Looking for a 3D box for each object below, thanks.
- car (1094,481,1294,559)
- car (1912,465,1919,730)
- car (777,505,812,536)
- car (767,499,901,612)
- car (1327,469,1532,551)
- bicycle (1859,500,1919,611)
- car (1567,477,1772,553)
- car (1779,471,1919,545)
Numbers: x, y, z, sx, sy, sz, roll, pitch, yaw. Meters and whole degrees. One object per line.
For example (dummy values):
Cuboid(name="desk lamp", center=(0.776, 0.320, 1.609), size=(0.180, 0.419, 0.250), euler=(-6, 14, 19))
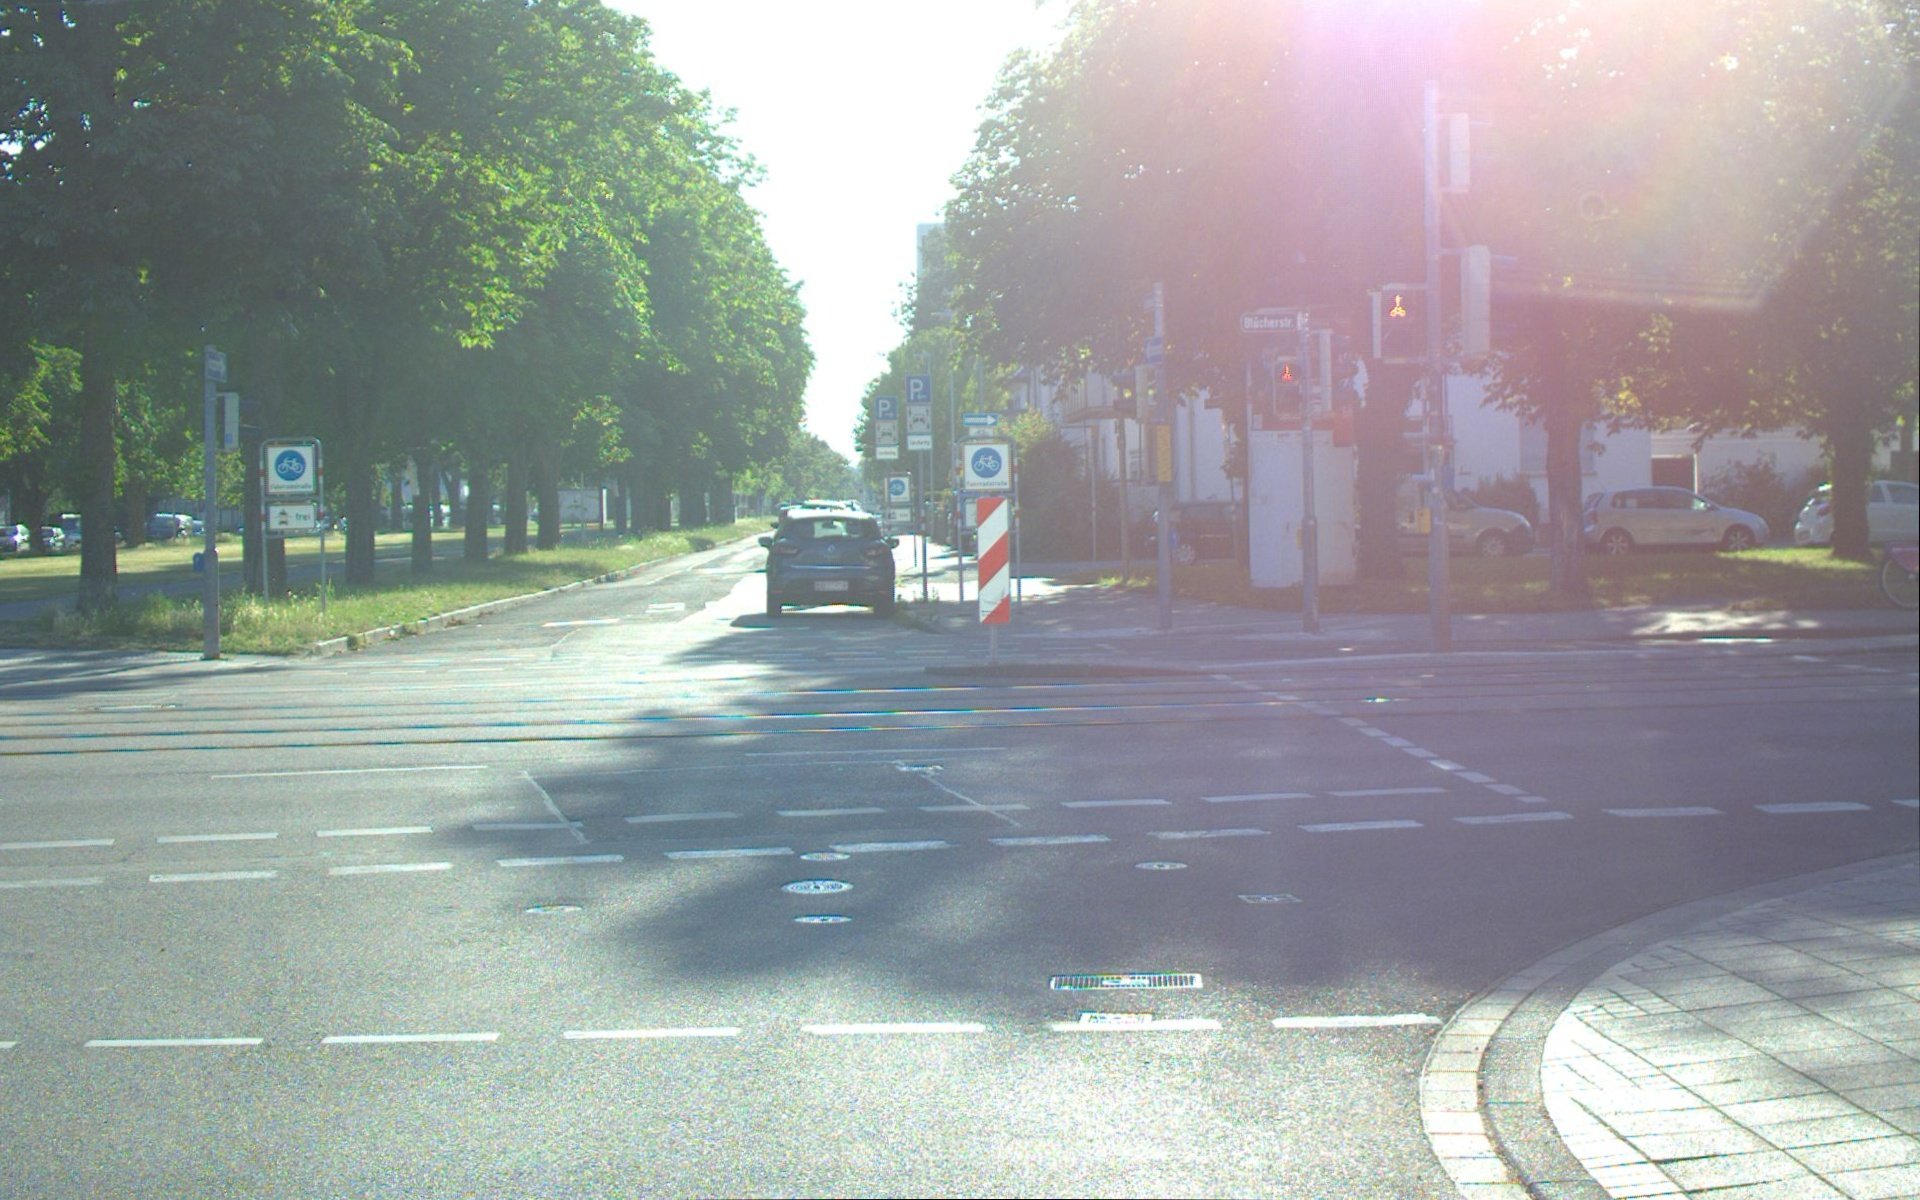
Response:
Cuboid(name="car", center=(4.589, -1.583, 67.759), size=(3.779, 1.422, 1.744), euler=(-1, 3, -1))
Cuboid(name="car", center=(7.340, 0.002, 18.842), size=(3.685, 1.483, 1.742), euler=(-1, 3, -12))
Cuboid(name="car", center=(-10.995, -5.318, 228.331), size=(2.134, 2.006, 3.902), euler=(-1, 2, -1))
Cuboid(name="car", center=(-1.679, -0.630, 46.715), size=(1.641, 1.446, 3.307), euler=(-1, 2, 1))
Cuboid(name="car", center=(9.262, -1.800, 68.042), size=(3.779, 1.520, 1.744), euler=(-1, 3, -1))
Cuboid(name="bicycle", center=(10.372, -0.478, 35.581), size=(1.954, 1.128, 0.620), euler=(-1, 2, 1))
Cuboid(name="car", center=(14.002, -1.682, 67.946), size=(3.662, 1.422, 1.532), euler=(-1, 2, -5))
Cuboid(name="car", center=(18.510, -1.848, 68.677), size=(3.844, 1.422, 1.598), euler=(-1, 2, -5))
